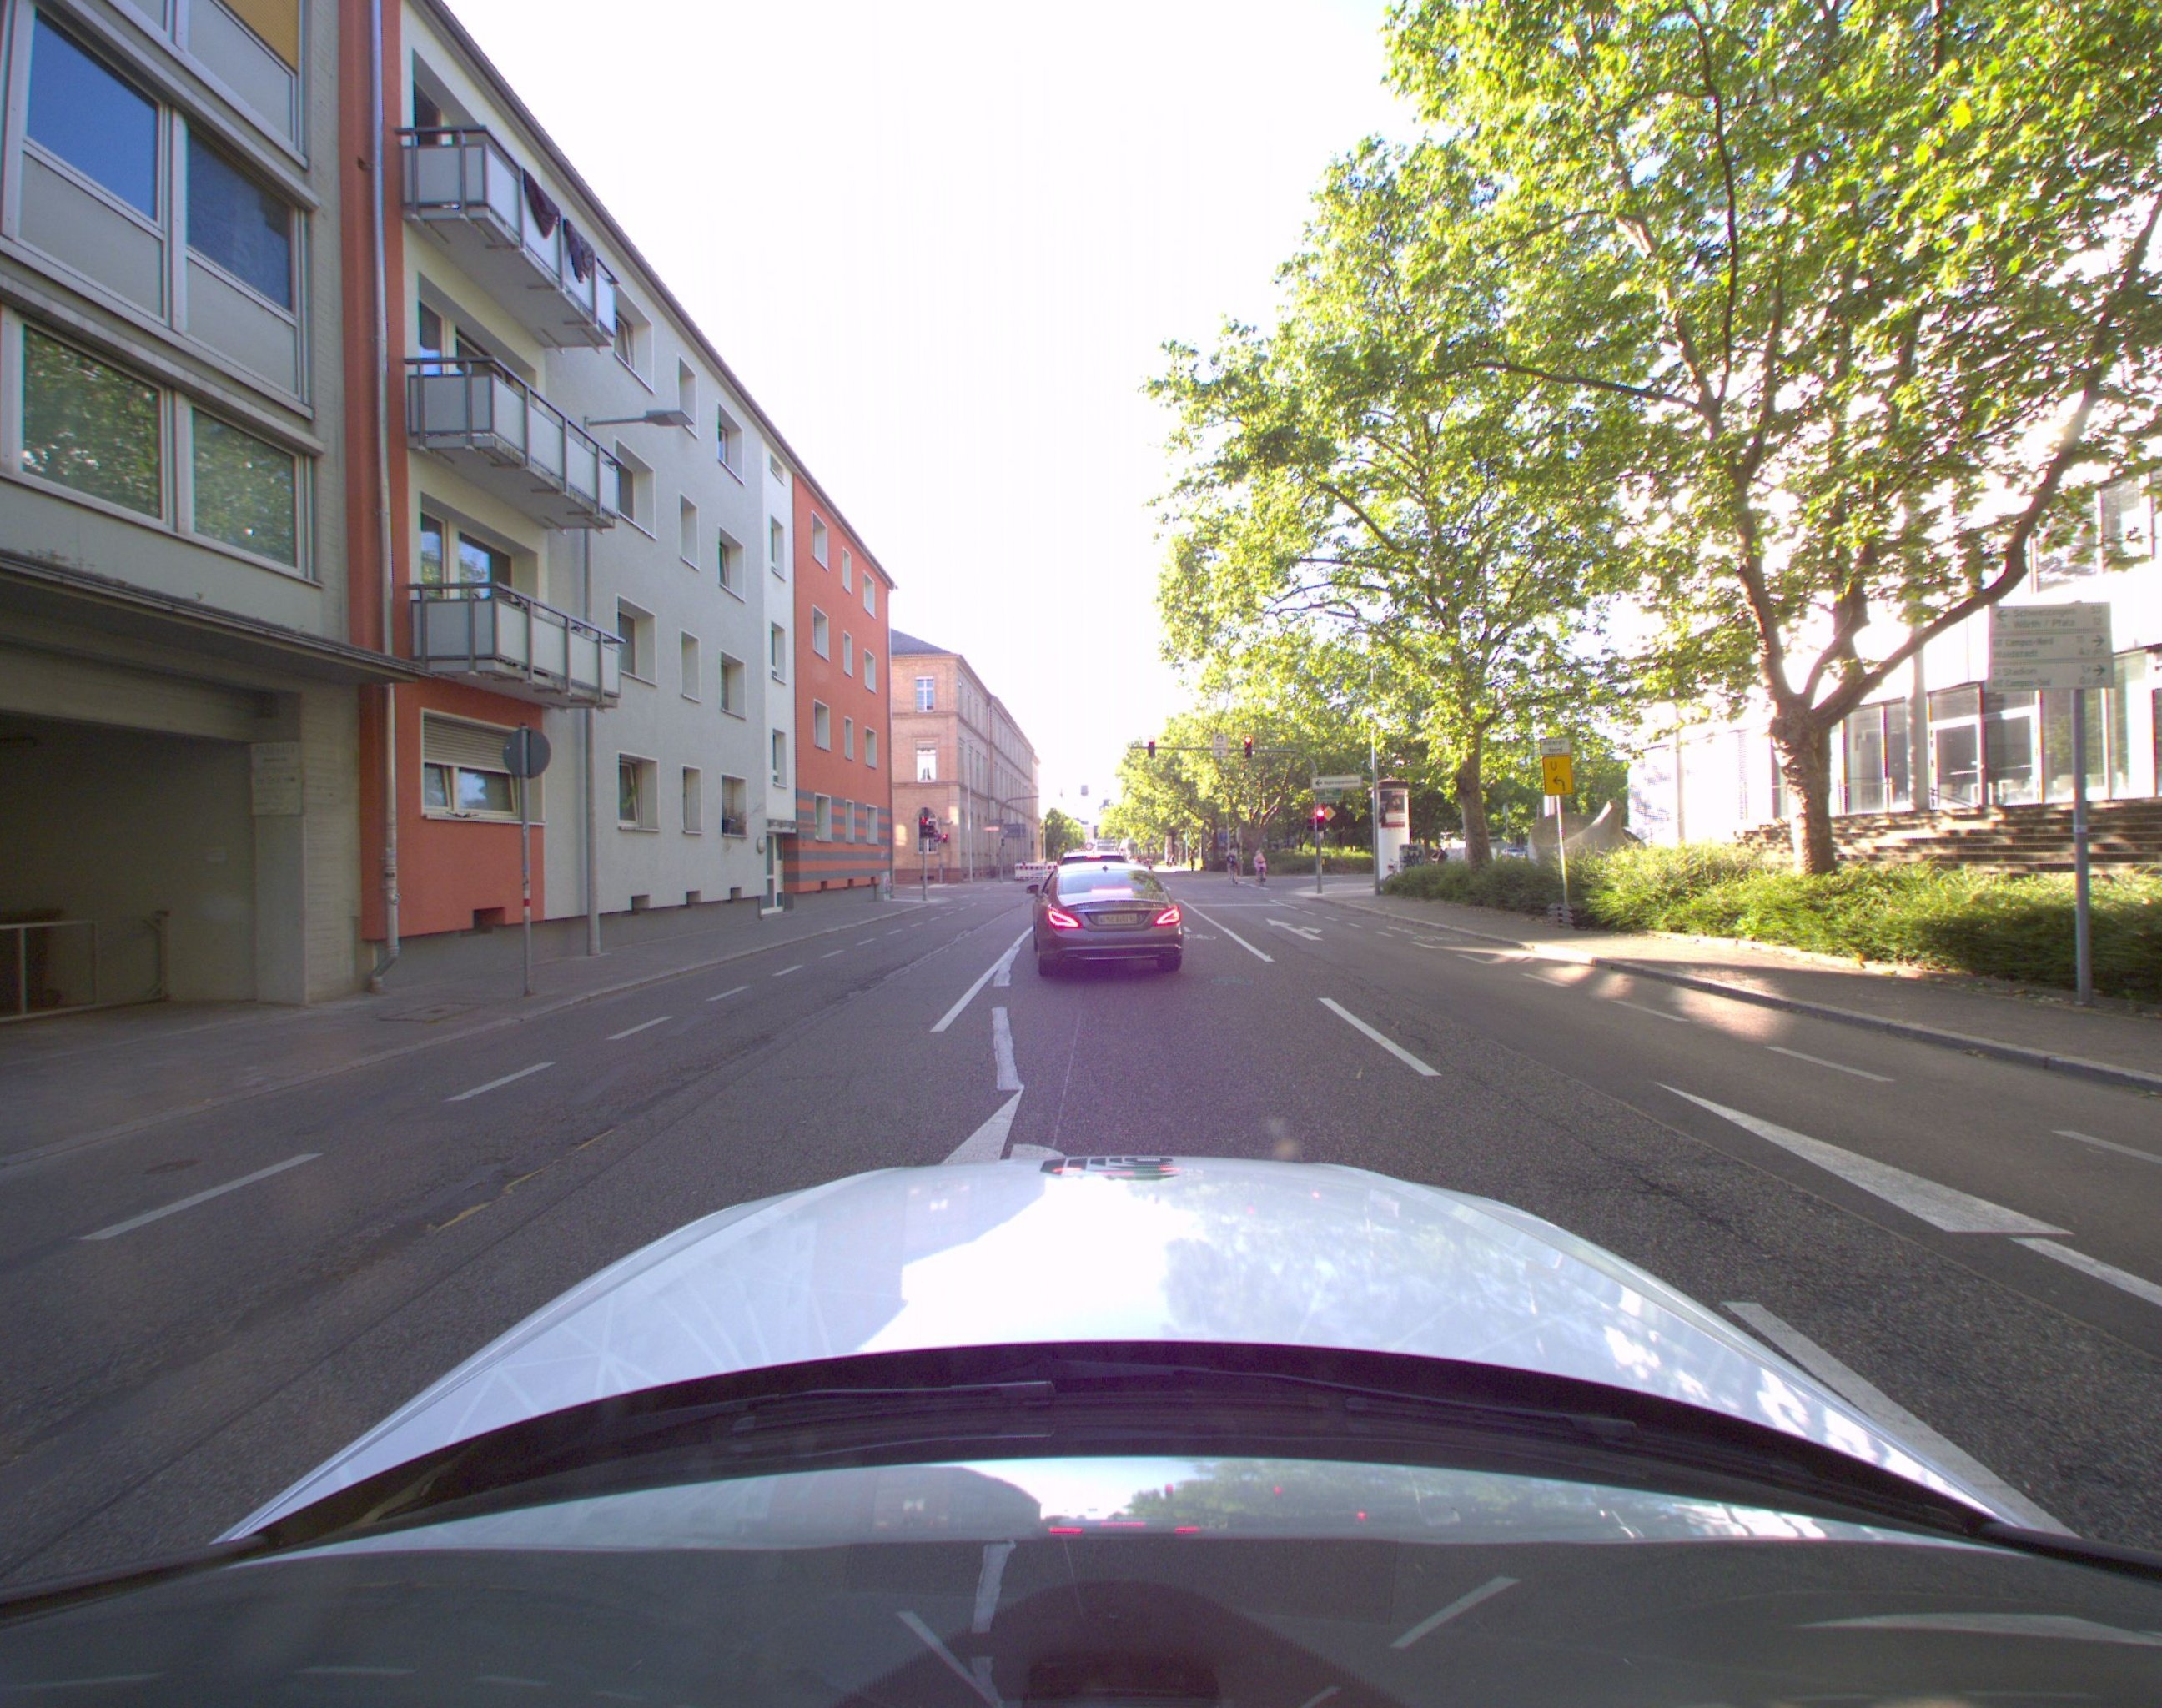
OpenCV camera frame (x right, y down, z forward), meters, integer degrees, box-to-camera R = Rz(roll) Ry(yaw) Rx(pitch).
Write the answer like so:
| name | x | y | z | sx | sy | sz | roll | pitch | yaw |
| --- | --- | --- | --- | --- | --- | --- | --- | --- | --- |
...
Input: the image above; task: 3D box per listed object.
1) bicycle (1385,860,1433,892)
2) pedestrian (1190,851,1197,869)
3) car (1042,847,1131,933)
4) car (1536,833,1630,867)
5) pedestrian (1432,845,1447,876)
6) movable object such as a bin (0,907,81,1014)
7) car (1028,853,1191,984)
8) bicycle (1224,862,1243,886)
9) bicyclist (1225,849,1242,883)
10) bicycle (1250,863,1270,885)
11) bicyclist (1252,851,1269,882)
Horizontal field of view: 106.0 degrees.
| name | x | y | z | sx | sy | sz | roll | pitch | yaw |
| --- | --- | --- | --- | --- | --- | --- | --- | --- | --- |
| bicycle | 10.980 | 0.737 | 27.277 | 1.411 | 1.037 | 0.538 | -1 | 0 | -2 |
| pedestrian | 10.462 | 0.551 | 75.644 | 0.557 | 1.678 | 0.565 | -1 | 0 | 1 |
| car | 0.135 | 0.706 | 17.610 | 1.676 | 1.625 | 3.841 | -1 | 0 | 1 |
| car | 27.977 | -0.201 | 45.469 | 3.975 | 1.784 | 2.004 | -1 | 0 | 7 |
| pedestrian | 21.077 | 0.399 | 47.843 | 0.617 | 1.784 | 0.631 | -1 | 0 | 4 |
| movable object such as a bin | -11.274 | 1.110 | 8.581 | 0.584 | 1.040 | 0.712 | -1 | 0 | 2 |
| car | 0.202 | 0.761 | 11.675 | 1.818 | 1.476 | 4.345 | -1 | 0 | -5 |
| bicycle | 6.981 | 0.914 | 37.414 | 0.608 | 1.026 | 1.732 | 0 | 0 | 2 |
| bicyclist | 6.987 | 0.543 | 37.358 | 0.608 | 1.516 | 0.890 | 0 | 0 | 2 |
| bicycle | 8.248 | 0.913 | 37.570 | 0.598 | 0.985 | 1.882 | 1 | 0 | 2 |
| bicyclist | 8.250 | 0.559 | 37.519 | 0.598 | 1.402 | 0.931 | 1 | 0 | 2 |
